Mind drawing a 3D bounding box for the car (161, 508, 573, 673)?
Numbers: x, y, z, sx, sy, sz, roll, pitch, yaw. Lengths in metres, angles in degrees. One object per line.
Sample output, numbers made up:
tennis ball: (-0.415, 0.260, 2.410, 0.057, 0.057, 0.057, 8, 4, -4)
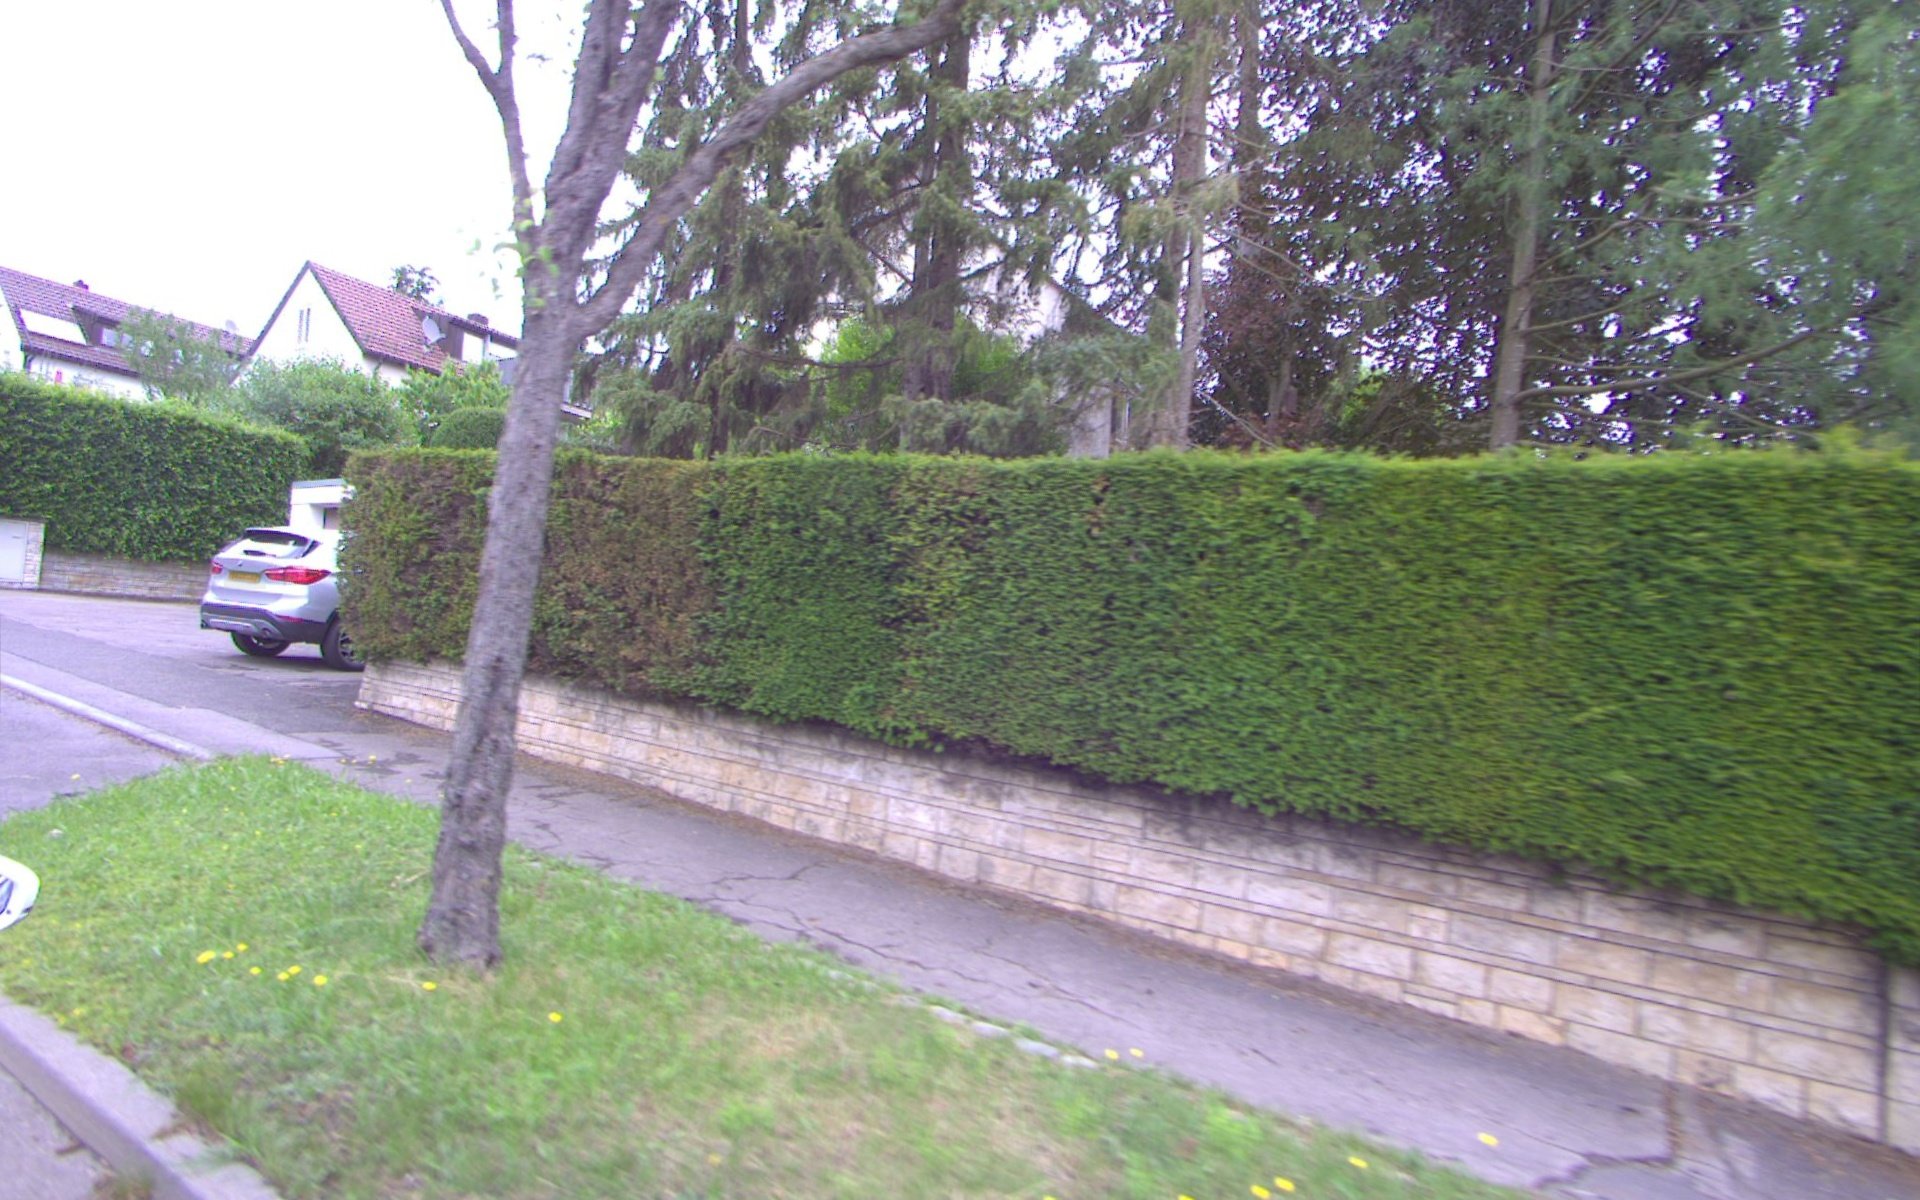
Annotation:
car: (-7.340, 0.011, 13.006, 1.847, 1.618, 4.222, 7, -1, 22)
